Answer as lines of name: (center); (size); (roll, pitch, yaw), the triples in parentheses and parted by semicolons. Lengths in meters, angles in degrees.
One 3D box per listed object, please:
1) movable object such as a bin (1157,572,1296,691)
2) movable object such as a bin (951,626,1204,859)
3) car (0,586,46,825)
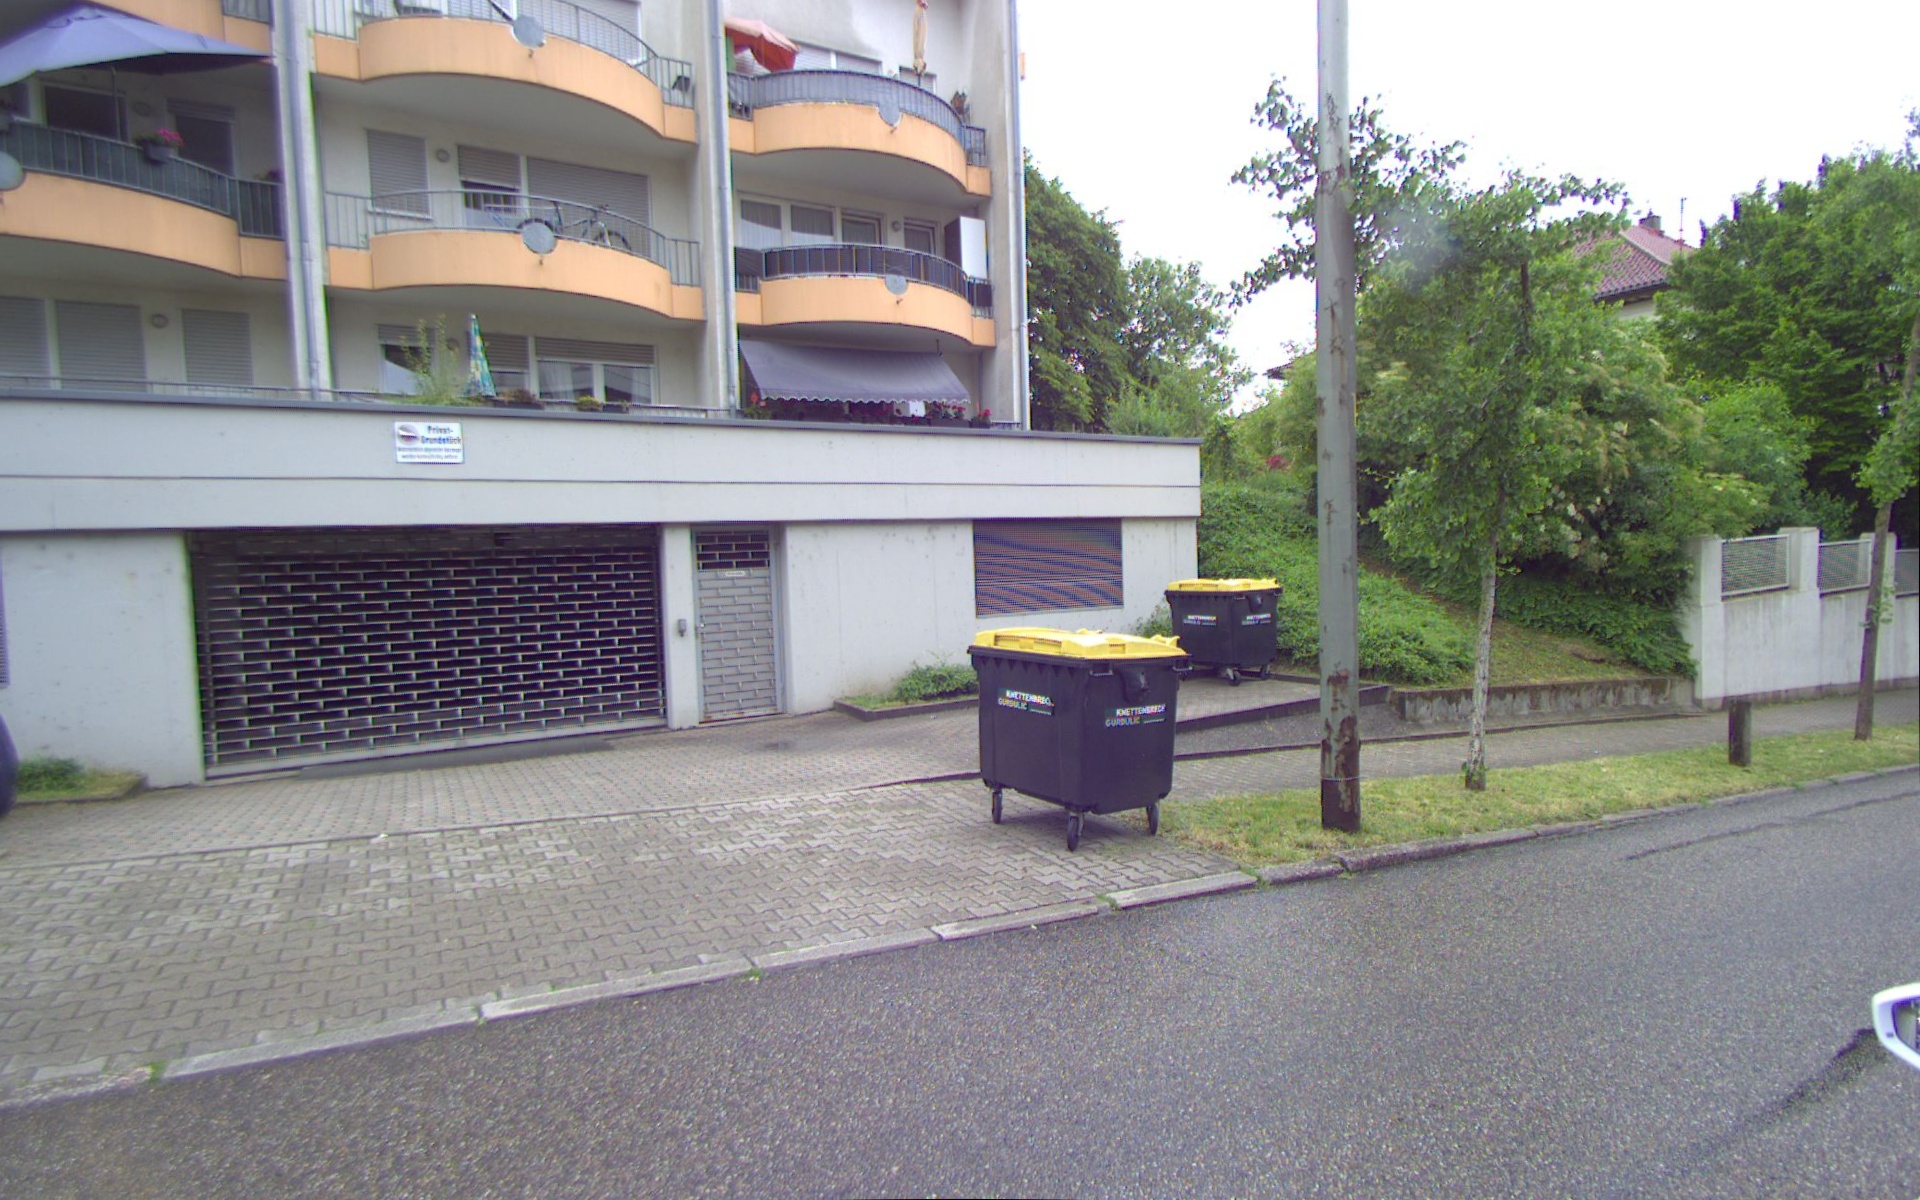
movable object such as a bin: (3.546, 0.374, 13.410); (1.215, 1.383, 1.289); (-7, 6, -36)
movable object such as a bin: (0.786, 0.876, 6.889); (1.145, 1.324, 1.288); (0, 2, -38)
car: (-8.121, 0.674, 5.661); (4.050, 1.582, 1.770); (1, -4, -31)
